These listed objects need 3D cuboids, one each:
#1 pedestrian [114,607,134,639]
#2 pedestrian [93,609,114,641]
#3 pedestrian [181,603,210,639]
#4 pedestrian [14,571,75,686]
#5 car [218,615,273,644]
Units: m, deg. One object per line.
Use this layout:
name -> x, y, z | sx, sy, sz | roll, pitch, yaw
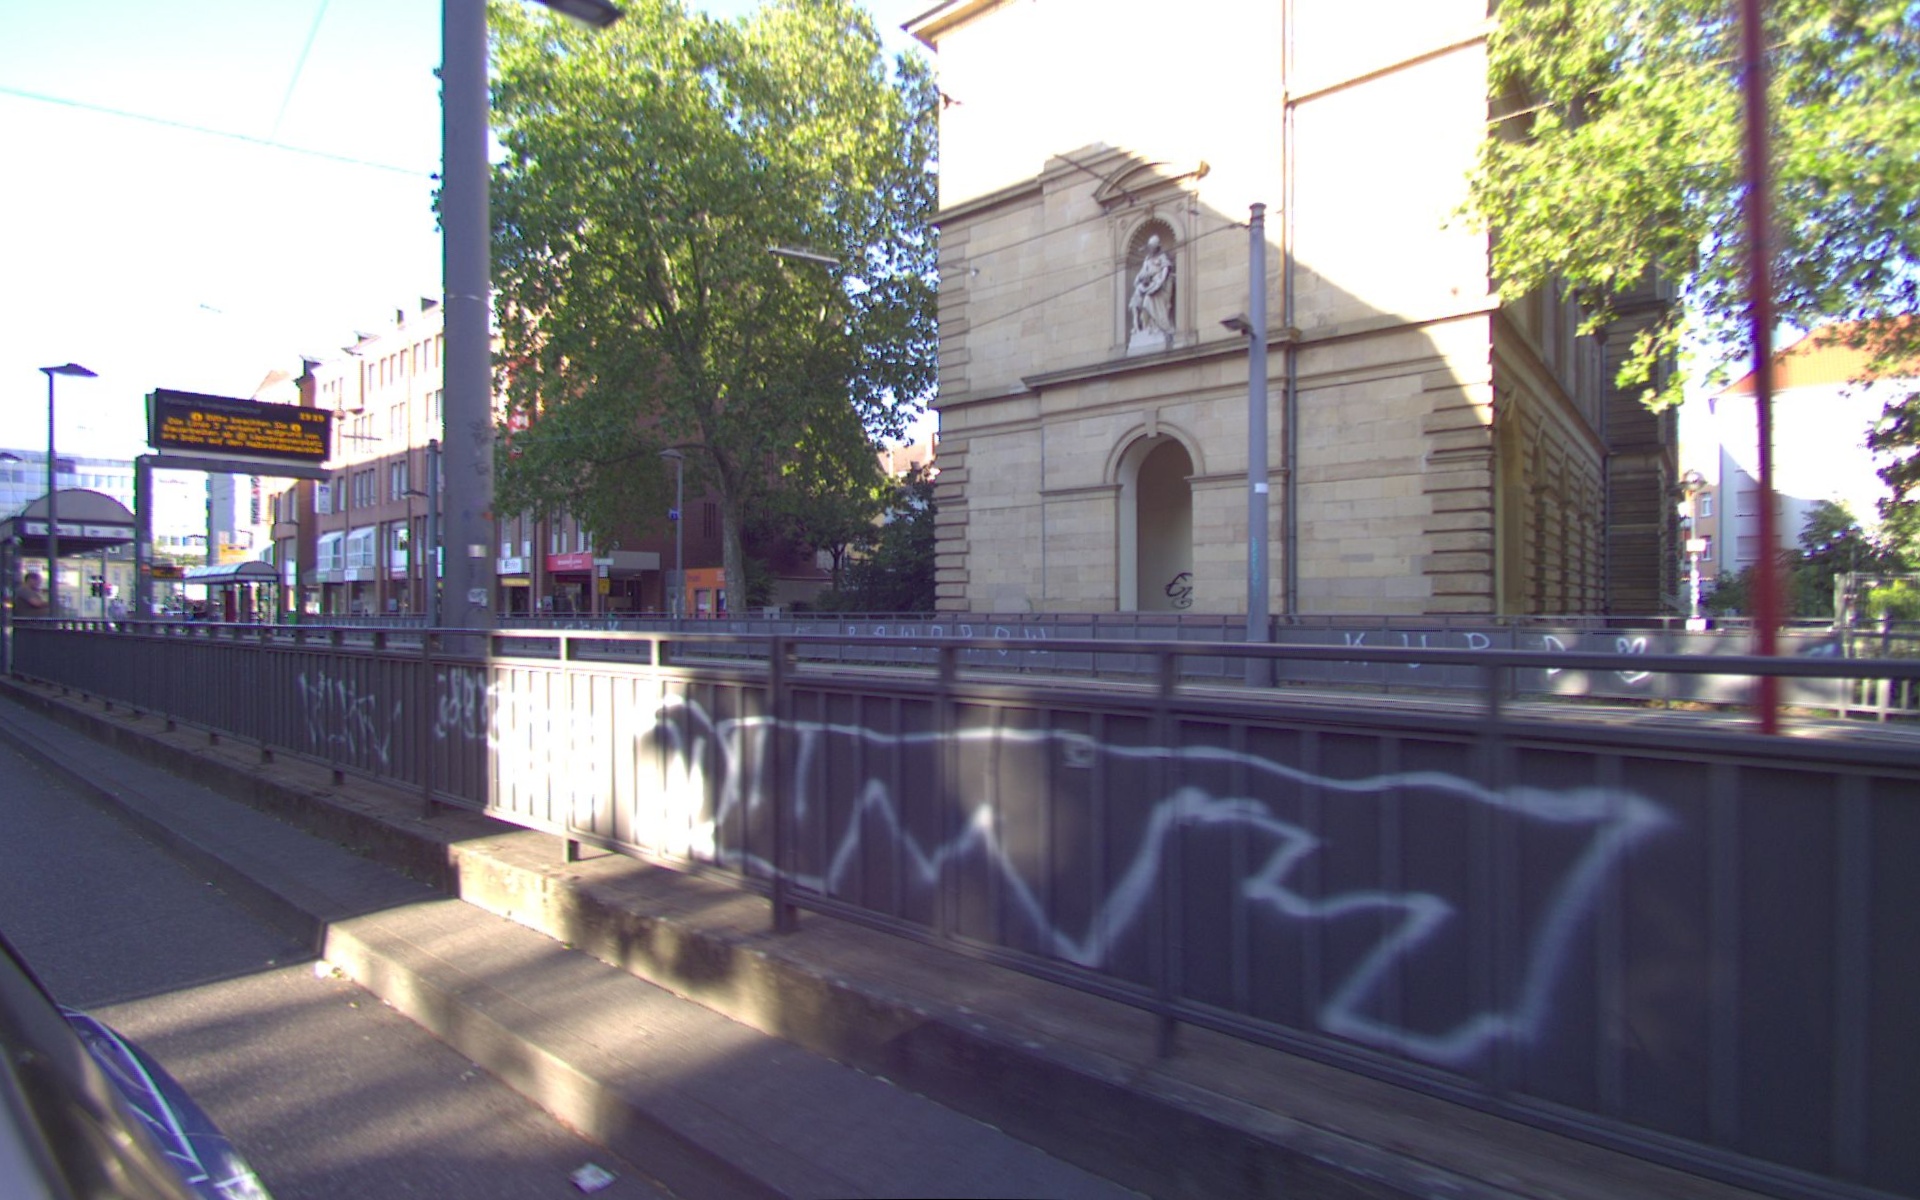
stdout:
pedestrian -> -49.008, 1.343, 59.334 | 0.847, 1.780, 0.812 | -3, 2, -41
pedestrian -> -49.570, 1.415, 58.597 | 0.847, 1.780, 0.812 | -3, 2, -41
pedestrian -> -35.708, 0.962, 47.255 | 0.967, 1.674, 0.902 | -1, 0, 40
pedestrian -> -14.282, 0.433, 15.786 | 0.849, 1.725, 0.616 | -1, -1, 40
car -> -44.419, 1.801, 62.886 | 4.289, 1.606, 1.889 | 1, -1, 42
